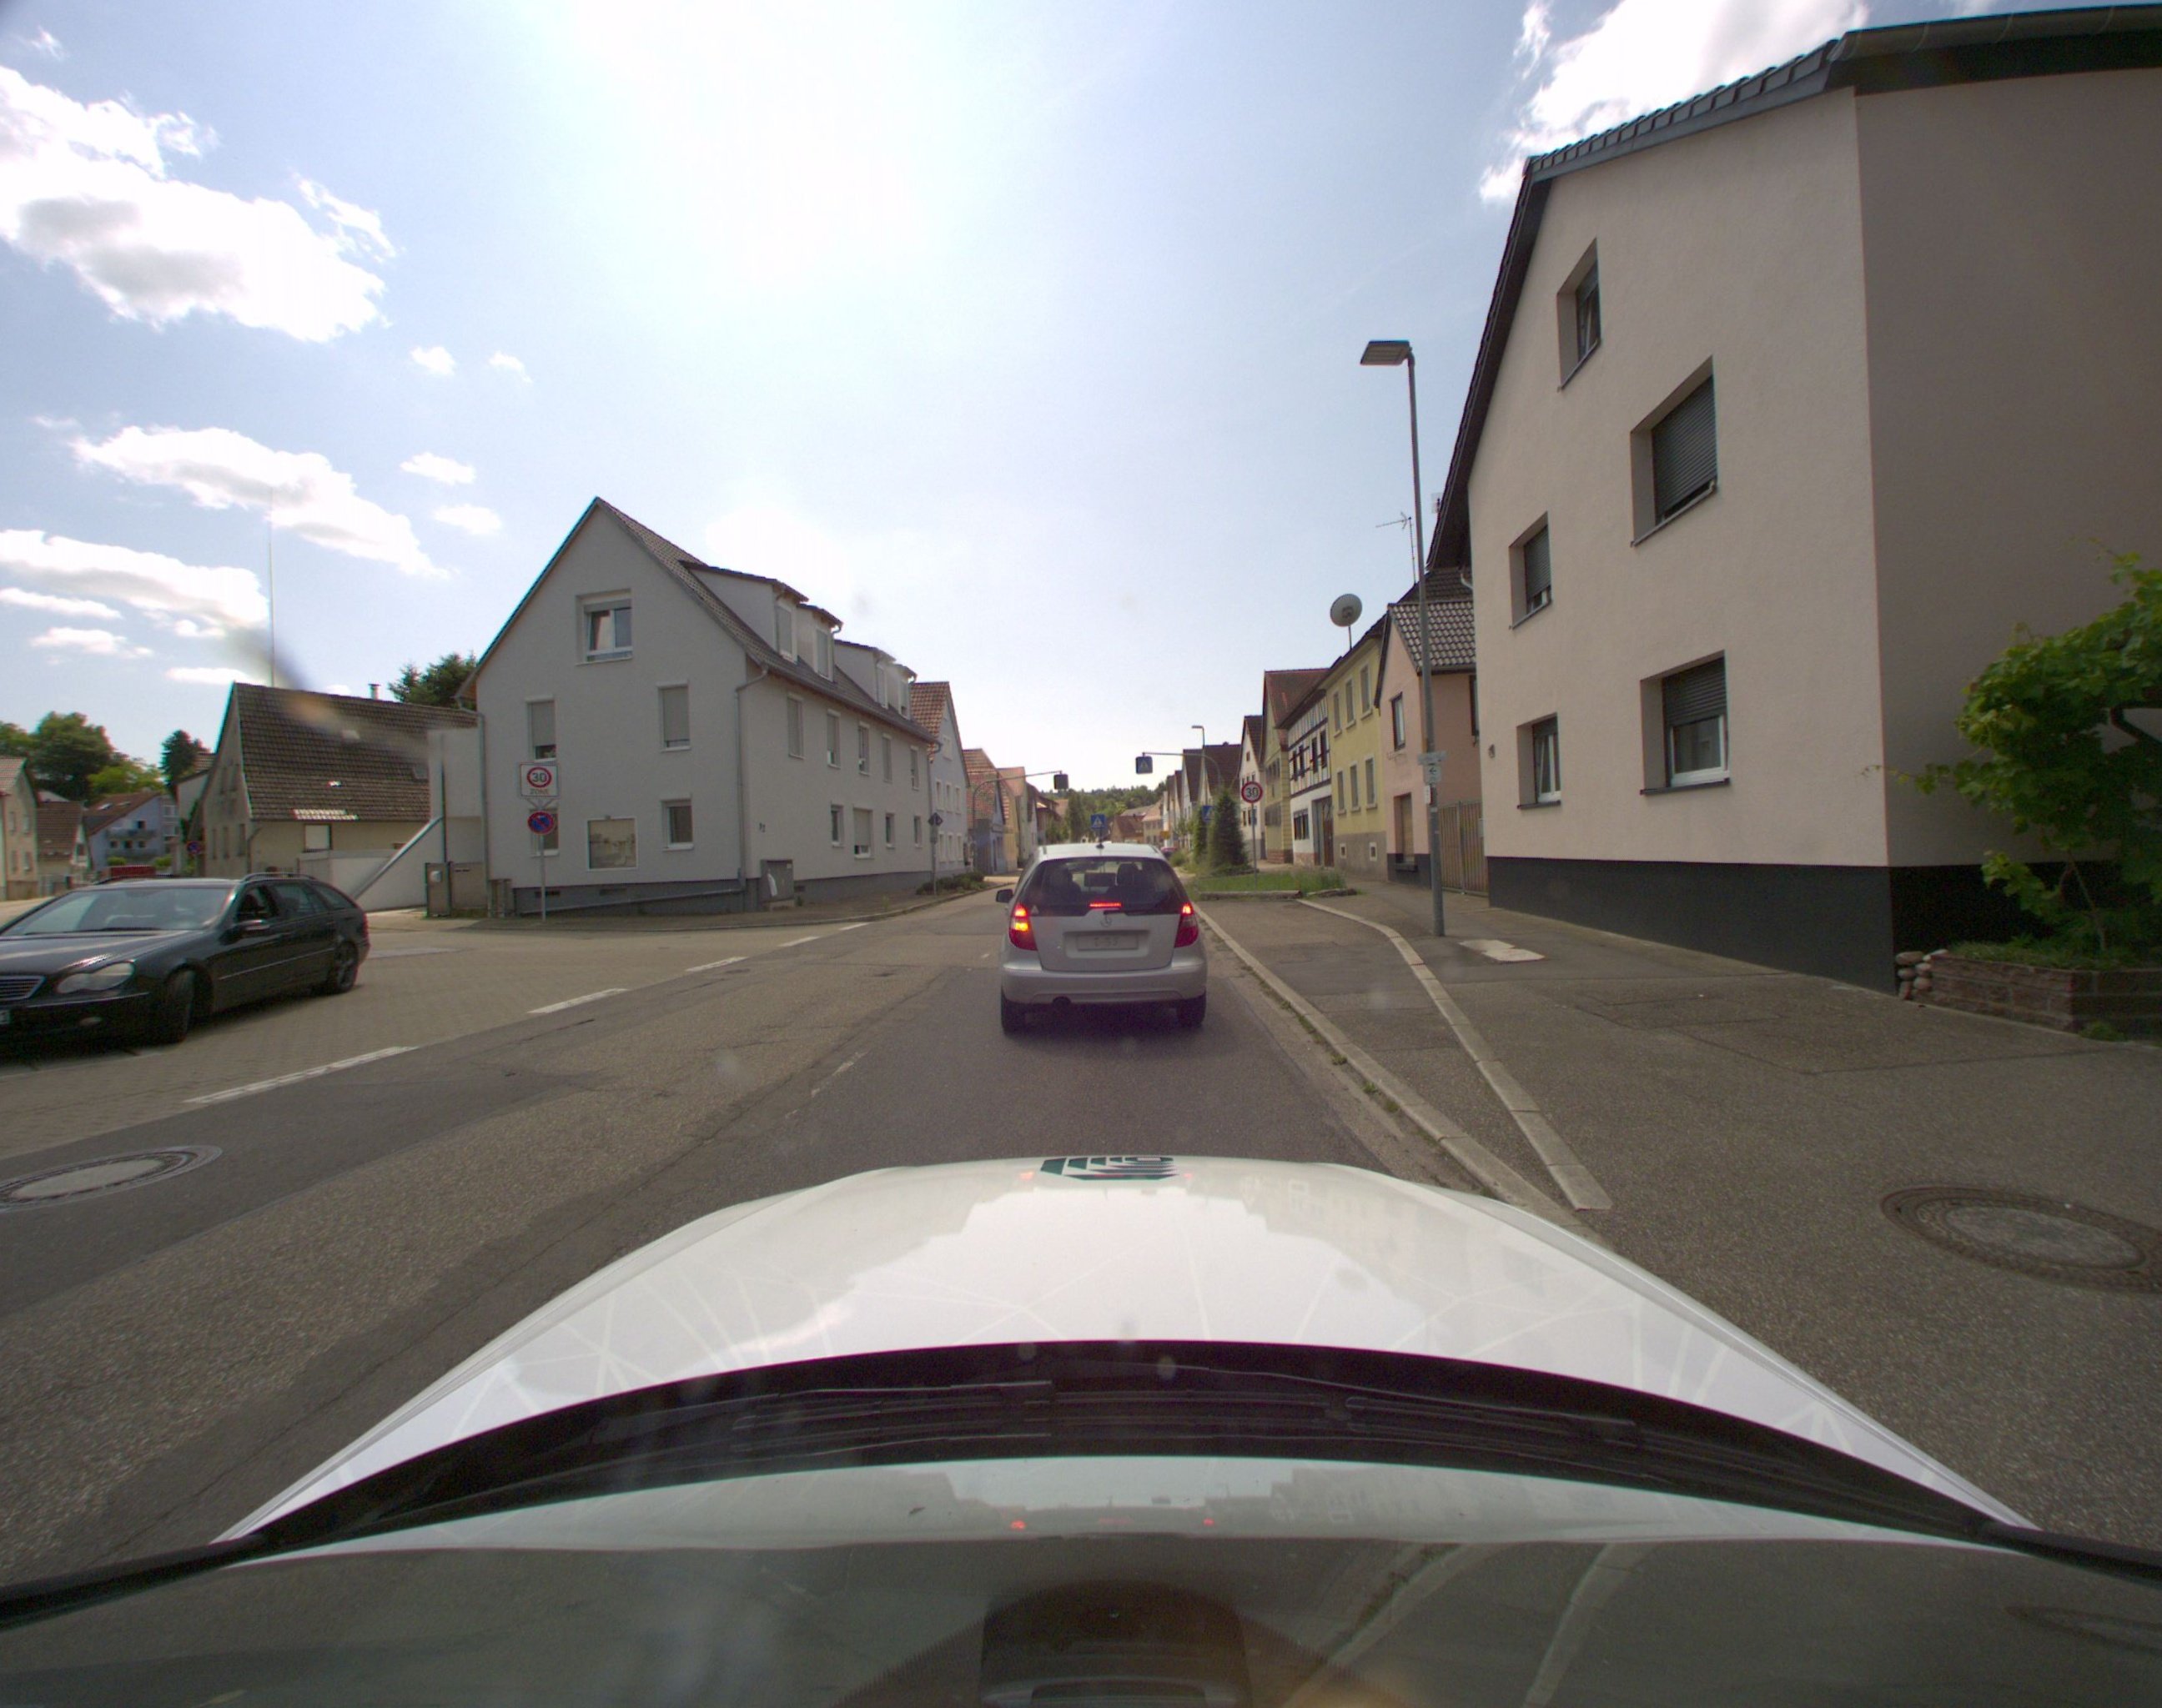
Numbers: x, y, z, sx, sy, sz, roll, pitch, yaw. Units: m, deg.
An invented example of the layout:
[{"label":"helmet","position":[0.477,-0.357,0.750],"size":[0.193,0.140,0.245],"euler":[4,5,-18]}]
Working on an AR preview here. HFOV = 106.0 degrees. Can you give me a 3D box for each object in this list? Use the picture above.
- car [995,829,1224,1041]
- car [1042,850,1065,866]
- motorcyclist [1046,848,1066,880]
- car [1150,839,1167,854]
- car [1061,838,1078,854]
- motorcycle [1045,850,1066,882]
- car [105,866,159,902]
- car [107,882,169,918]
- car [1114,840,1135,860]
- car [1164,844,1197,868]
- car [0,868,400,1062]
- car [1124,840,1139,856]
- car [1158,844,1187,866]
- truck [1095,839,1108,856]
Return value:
[{"label":"car","position":[0.104,0.635,8.273],"size":[1.807,1.643,3.723],"euler":[0,0,-4]},{"label":"car","position":[-2.535,0.377,74.595],"size":[1.989,1.321,3.705],"euler":[-1,-2,-3]},{"label":"motorcyclist","position":[-1.256,0.507,41.231],"size":[0.893,1.554,0.807],"euler":[-2,0,2]},{"label":"car","position":[10.132,-0.959,106.883],"size":[1.986,1.816,4.001],"euler":[-2,-2,2]},{"label":"car","position":[-1.267,-0.902,93.076],"size":[1.660,1.596,4.002],"euler":[-2,-2,3]},{"label":"motorcycle","position":[-1.283,0.599,41.081],"size":[0.877,1.561,1.968],"euler":[-2,0,2]},{"label":"car","position":[-46.165,1.463,39.603],"size":[3.431,1.635,1.406],"euler":[-3,-2,36]},{"label":"car","position":[-41.862,2.034,36.143],"size":[3.431,1.530,1.500],"euler":[-3,-2,36]},{"label":"car","position":[4.333,-0.372,82.177],"size":[1.986,1.816,4.001],"euler":[-2,-2,2]},{"label":"car","position":[6.870,0.162,56.665],"size":[1.985,1.508,4.002],"euler":[-2,-2,3]},{"label":"car","position":[-8.940,0.902,8.078],"size":[1.814,1.412,4.605],"euler":[-1,-2,-19]},{"label":"car","position":[6.860,-0.865,111.666],"size":[1.985,2.014,4.002],"euler":[-2,-2,2]},{"label":"car","position":[7.074,0.107,63.337],"size":[1.985,1.508,4.002],"euler":[-2,-2,3]},{"label":"truck","position":[3.509,-1.040,139.311],"size":[1.986,2.537,6.742],"euler":[-2,-2,2]}]
